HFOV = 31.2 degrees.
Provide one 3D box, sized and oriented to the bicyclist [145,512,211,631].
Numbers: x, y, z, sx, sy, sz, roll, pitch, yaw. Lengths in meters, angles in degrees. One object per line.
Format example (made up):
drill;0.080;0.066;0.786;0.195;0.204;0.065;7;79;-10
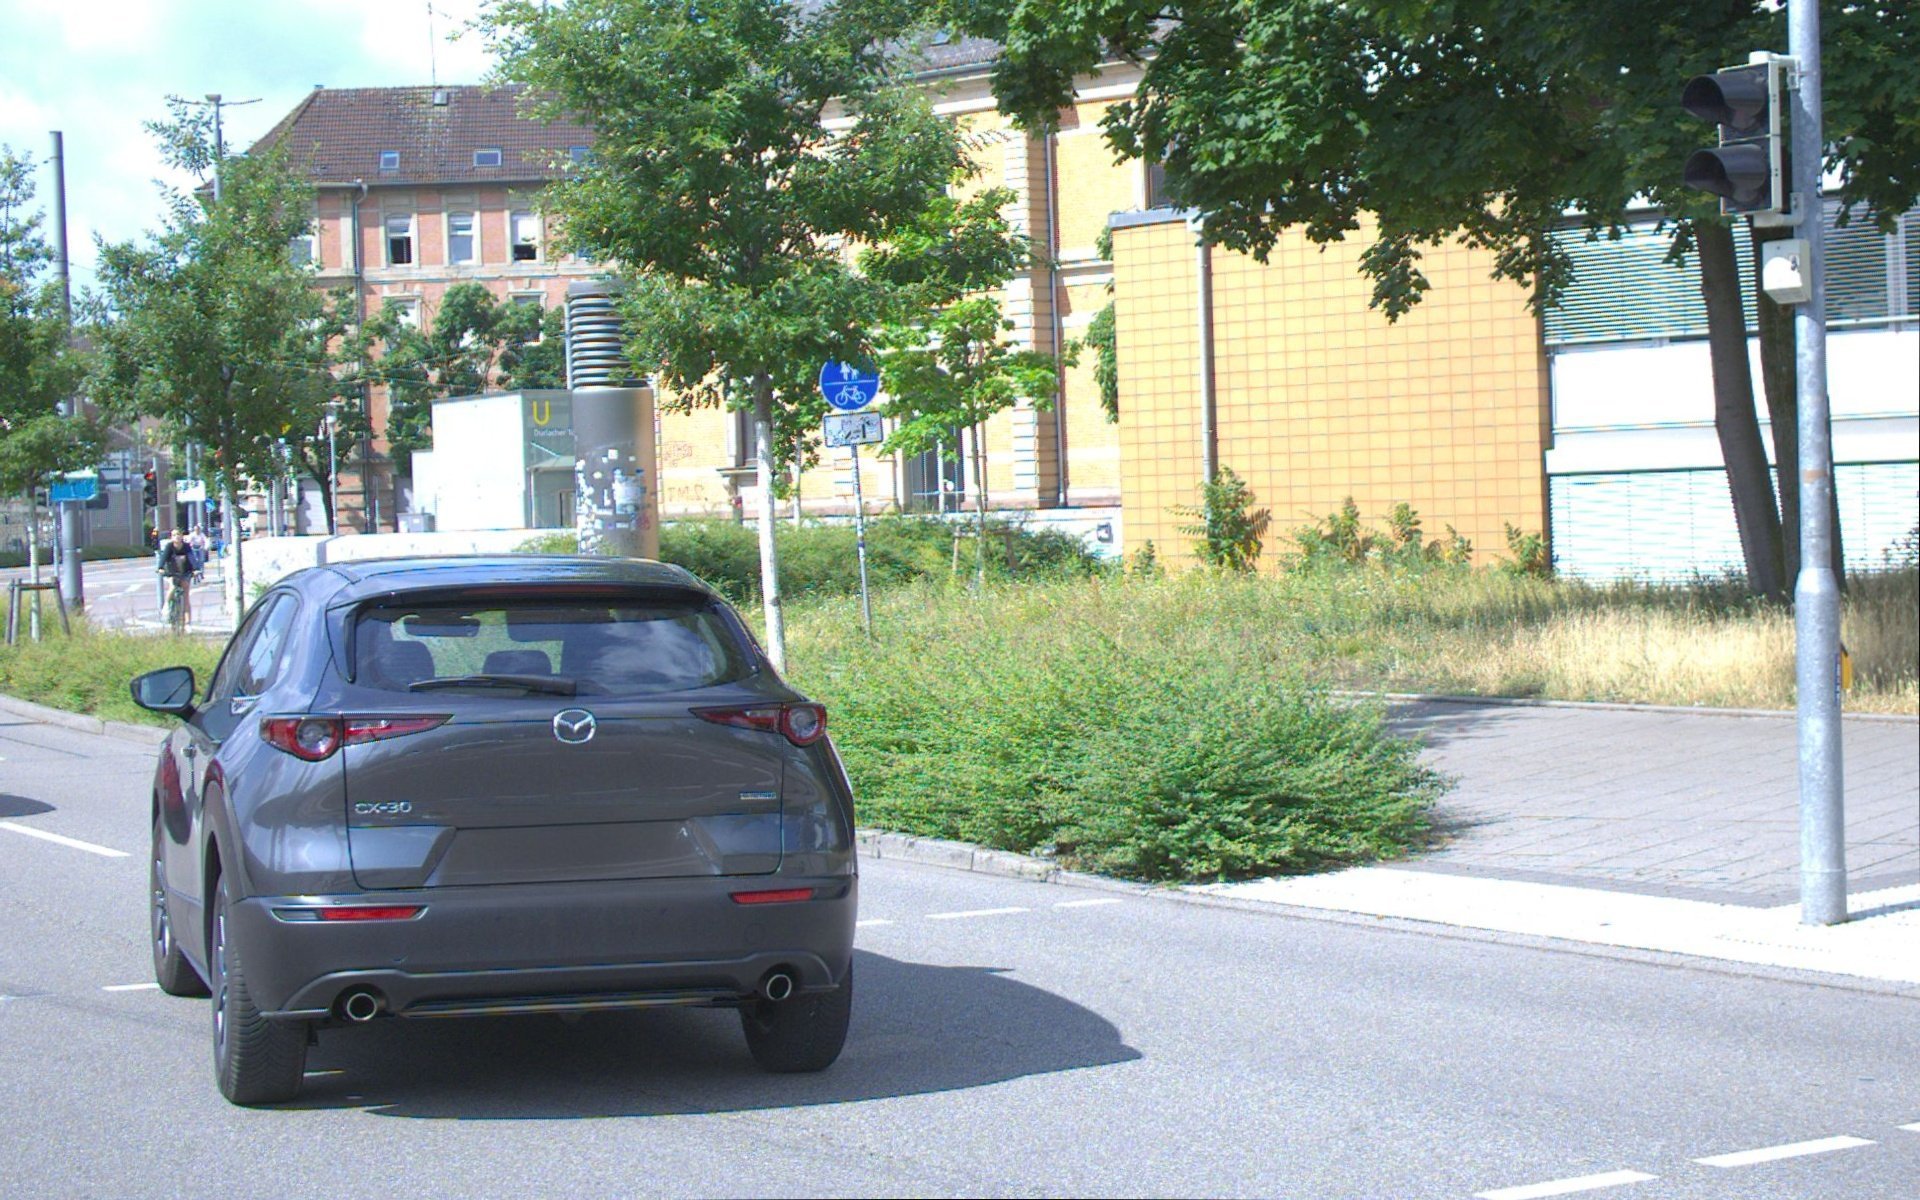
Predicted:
bicyclist;-11.559;-0.433;50.784;0.735;1.696;0.965;-4;2;-20

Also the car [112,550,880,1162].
car;-1.673;0.634;10.921;1.805;1.503;4.206;-2;1;-16

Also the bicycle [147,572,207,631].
bicycle;-11.609;0.015;50.934;0.625;0.808;1.789;-4;2;-19
